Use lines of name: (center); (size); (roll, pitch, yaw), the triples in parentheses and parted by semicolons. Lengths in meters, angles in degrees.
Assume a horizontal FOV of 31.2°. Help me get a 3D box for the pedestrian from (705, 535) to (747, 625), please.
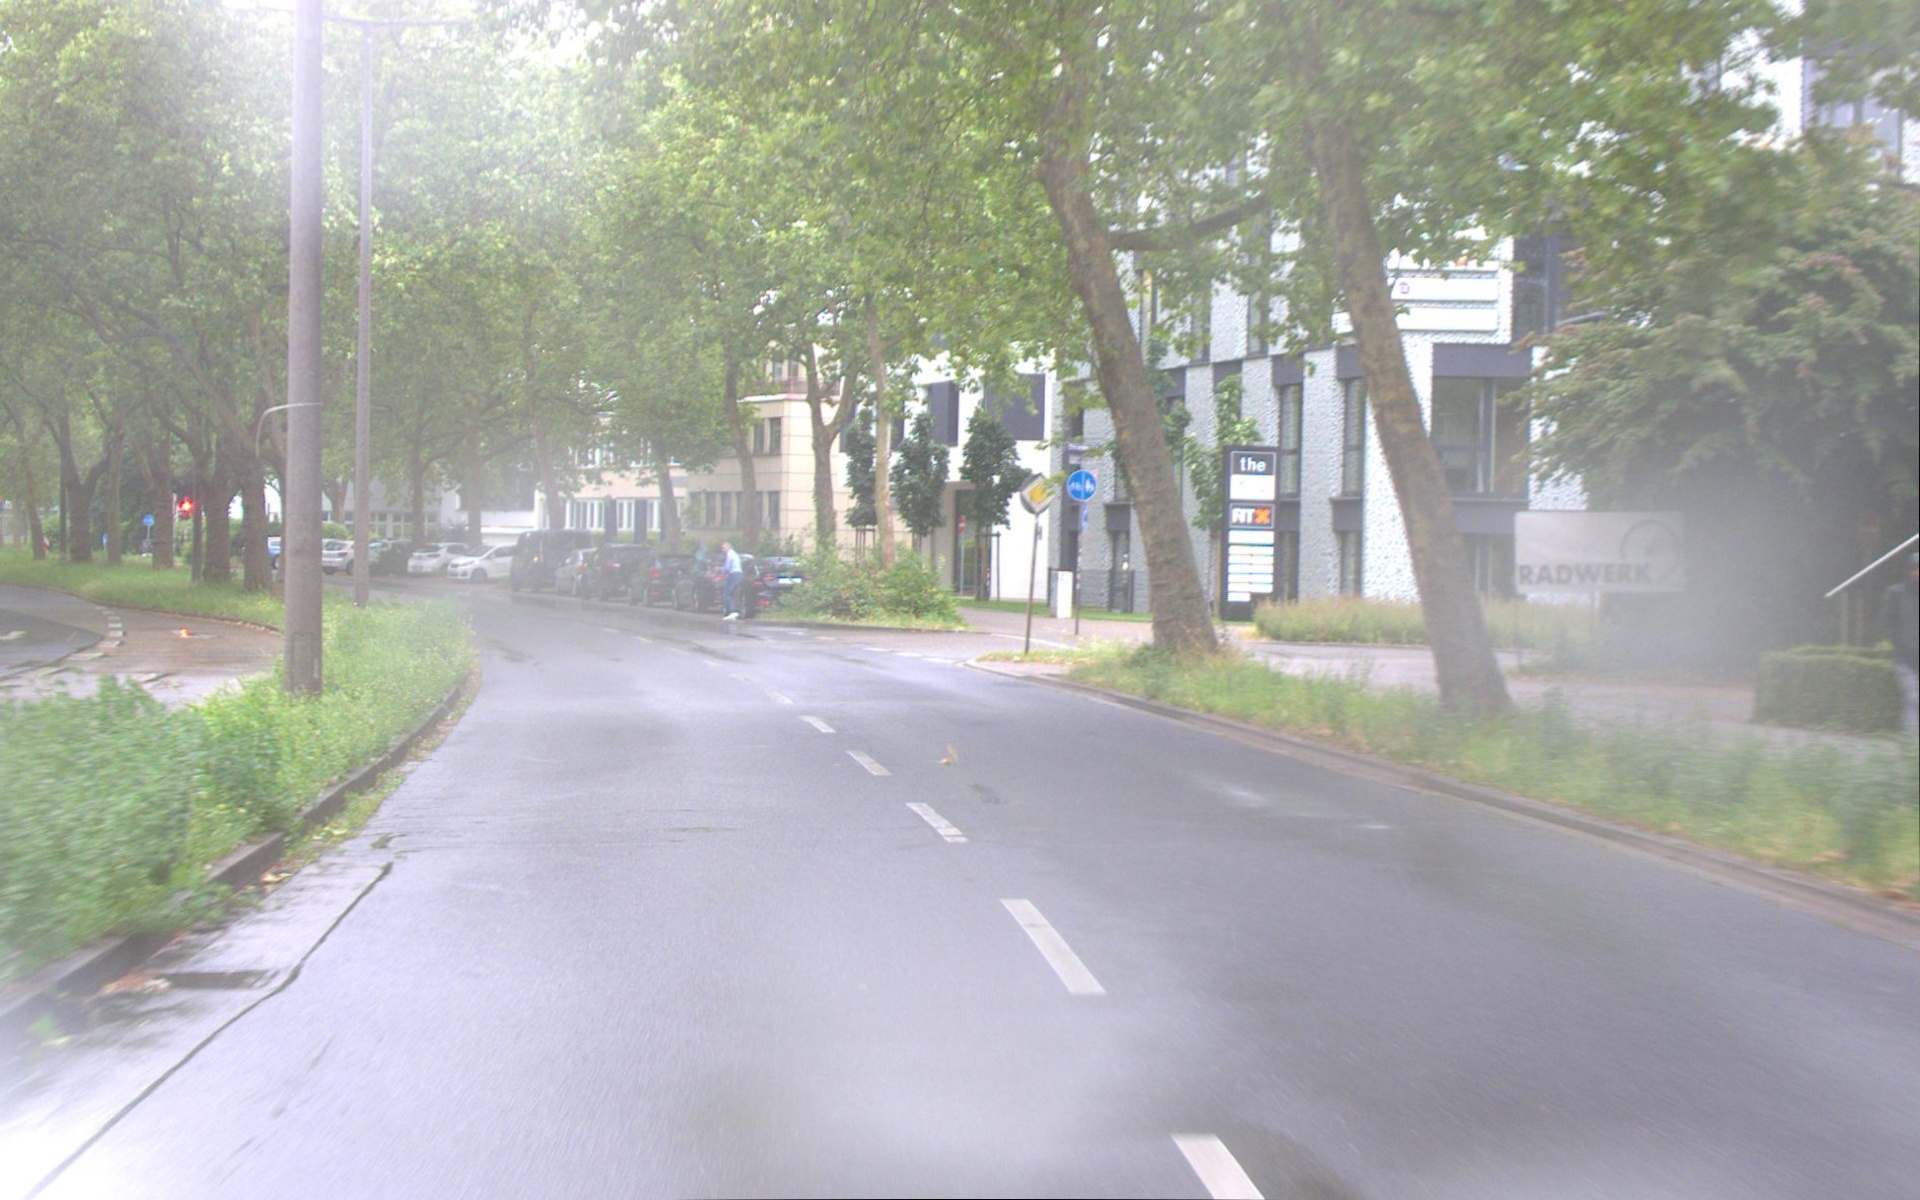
pedestrian: (-5.169, -0.453, 75.956); (0.707, 1.943, 0.857); (2, 2, 10)

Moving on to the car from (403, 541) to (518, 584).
car: (-18.926, -1.421, 130.275); (3.867, 1.488, 1.888); (1, 2, -27)

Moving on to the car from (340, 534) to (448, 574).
car: (-22.871, -1.856, 138.905); (3.867, 1.499, 1.888); (1, 2, -27)

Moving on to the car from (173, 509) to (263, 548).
car: (-36.945, -3.551, 171.219); (3.986, 1.813, 2.001); (1, 2, -26)

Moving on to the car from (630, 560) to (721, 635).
car: (-7.506, -0.082, 90.462); (1.993, 1.776, 4.002); (1, 2, -10)

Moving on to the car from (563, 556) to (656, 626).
car: (-9.953, -0.265, 97.281); (1.993, 1.776, 4.002); (1, 2, -15)

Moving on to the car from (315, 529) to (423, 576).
car: (-24.710, -1.984, 143.712); (3.986, 1.825, 2.000); (0, 2, -29)

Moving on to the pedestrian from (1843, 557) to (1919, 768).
pedestrian: (7.697, 0.492, 28.014); (0.672, 1.662, 0.823); (3, 2, 34)

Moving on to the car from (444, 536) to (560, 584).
car: (-16.881, -1.464, 126.637); (3.866, 1.645, 1.888); (1, 2, -22)

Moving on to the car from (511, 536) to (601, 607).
car: (-12.817, -0.921, 108.969); (2.121, 2.081, 4.002); (1, 2, -17)

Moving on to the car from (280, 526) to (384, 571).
car: (-27.194, -2.232, 148.788); (3.986, 1.813, 2.001); (1, 2, -26)
